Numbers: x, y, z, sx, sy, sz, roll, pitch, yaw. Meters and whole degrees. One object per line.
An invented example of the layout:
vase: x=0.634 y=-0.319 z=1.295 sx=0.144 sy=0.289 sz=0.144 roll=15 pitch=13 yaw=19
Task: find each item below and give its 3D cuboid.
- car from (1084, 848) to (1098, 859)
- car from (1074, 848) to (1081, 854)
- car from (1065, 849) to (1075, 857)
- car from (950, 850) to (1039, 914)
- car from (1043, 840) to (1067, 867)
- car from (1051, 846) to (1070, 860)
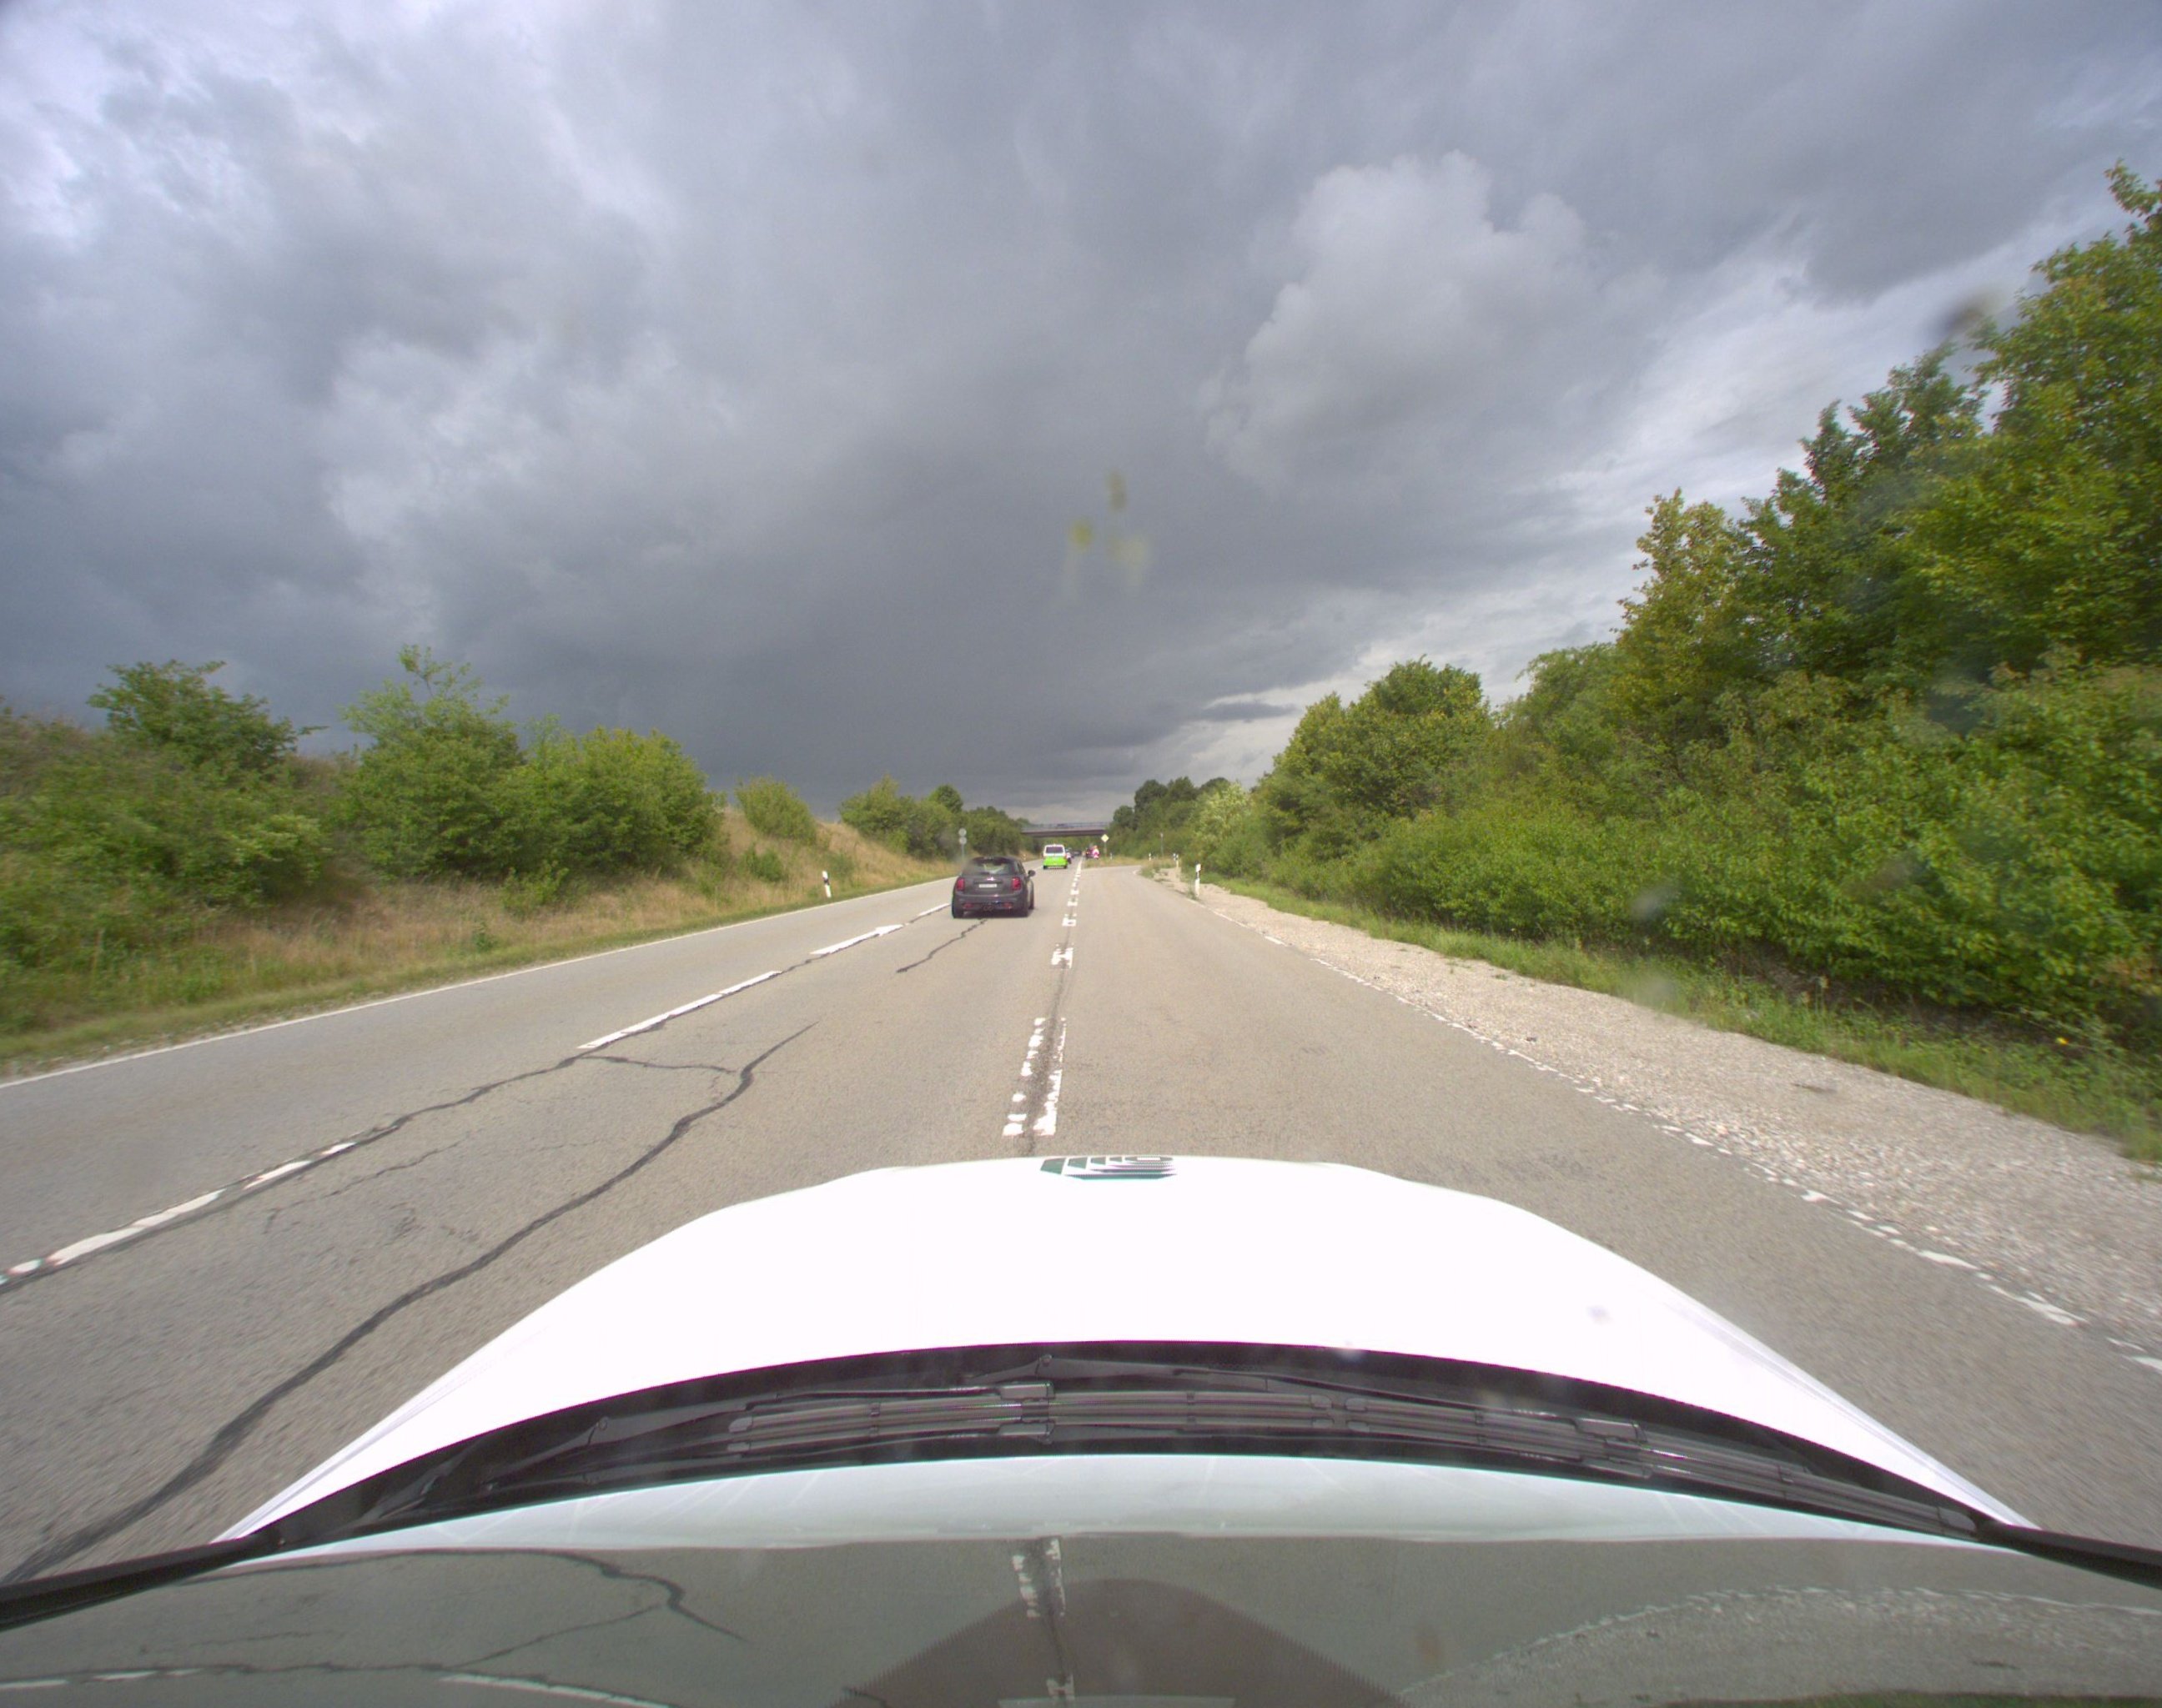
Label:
car: x=1.542 y=-0.118 z=123.131 sx=1.988 sy=1.552 sz=3.997 roll=0 pitch=0 yaw=-2
car: x=-0.894 y=-0.738 z=199.092 sx=1.661 sy=1.403 sz=4.000 roll=-1 pitch=0 yaw=0
car: x=-1.987 y=-0.165 z=146.914 sx=1.661 sy=1.403 sz=4.000 roll=-1 pitch=0 yaw=0
car: x=-2.028 y=0.611 z=20.109 sx=1.751 sy=1.427 sz=4.000 roll=0 pitch=0 yaw=0
car: x=-2.089 y=-0.056 z=66.191 sx=1.813 sy=2.054 sz=4.000 roll=0 pitch=0 yaw=0
car: x=-2.187 y=-0.121 z=87.966 sx=1.987 sy=1.552 sz=4.000 roll=0 pitch=0 yaw=0
